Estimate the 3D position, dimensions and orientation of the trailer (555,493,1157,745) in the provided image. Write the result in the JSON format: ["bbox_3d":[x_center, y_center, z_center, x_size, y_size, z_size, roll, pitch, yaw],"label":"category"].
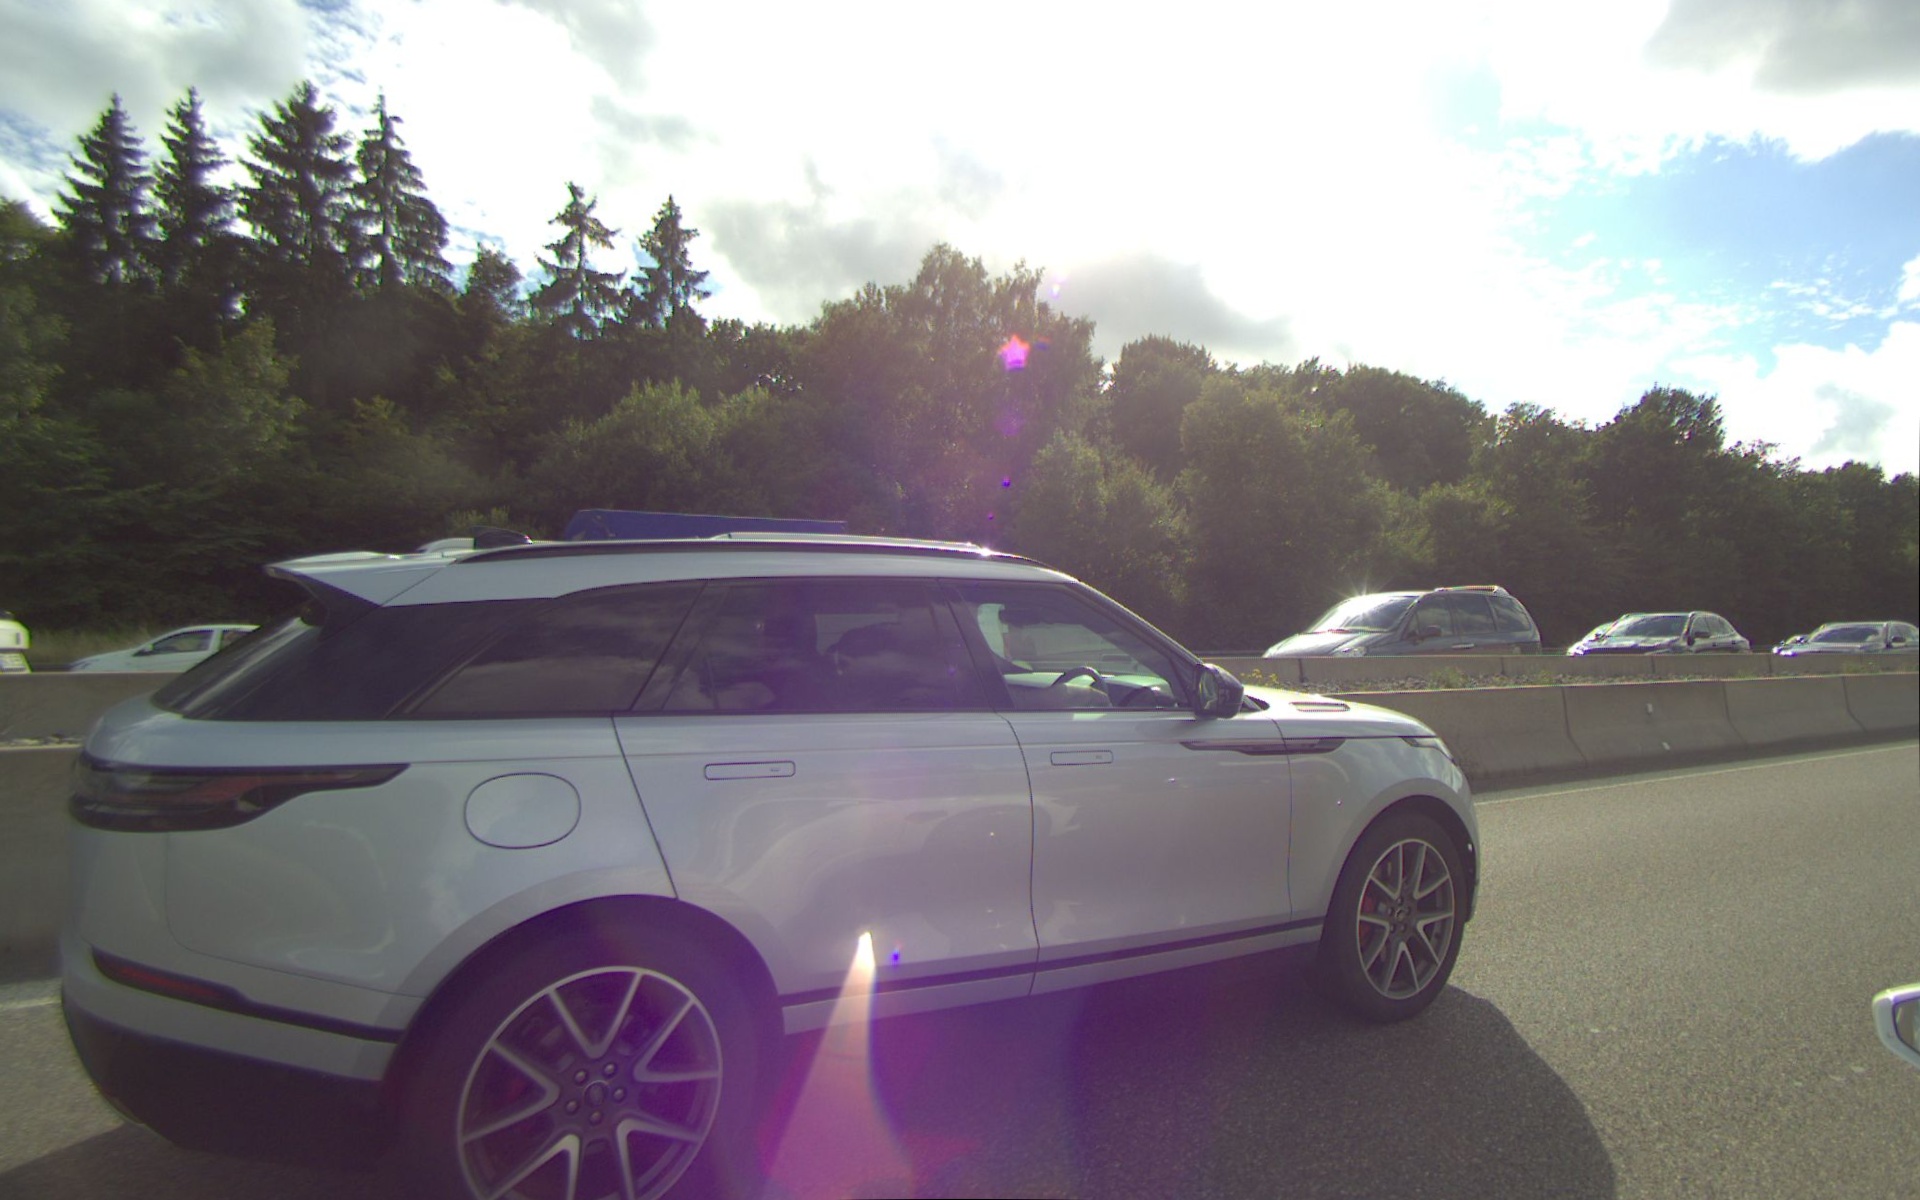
[{"bbox_3d":[-1.128,0.320,14.462,8.445,2.823,2.267,2,0,-32],"label":"trailer"}]

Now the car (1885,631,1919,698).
[{"bbox_3d":[28.261,1.910,28.496,3.952,1.817,1.811,3,-1,-29],"label":"car"}]

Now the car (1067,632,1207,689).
[{"bbox_3d":[5.499,1.832,31.119,4.023,1.593,1.802,1,0,-29],"label":"car"}]

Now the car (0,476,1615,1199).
[{"bbox_3d":[0.103,0.695,3.770,5.046,1.628,1.891,2,-1,-30],"label":"car"}]

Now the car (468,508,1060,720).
[{"bbox_3d":[-1.777,0.131,9.718,5.264,1.593,1.984,1,2,-29],"label":"car"}]

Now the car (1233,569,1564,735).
[{"bbox_3d":[6.332,0.745,14.383,4.624,2.040,1.983,4,-1,-31],"label":"car"}]

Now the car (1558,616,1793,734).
[{"bbox_3d":[14.023,1.451,19.648,4.493,2.040,1.985,3,-1,-29],"label":"car"}]

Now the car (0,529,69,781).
[{"bbox_3d":[-8.154,0.293,5.701,4.304,1.593,1.757,1,0,-29],"label":"car"}]

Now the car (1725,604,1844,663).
[{"bbox_3d":[32.341,1.331,39.380,4.796,2.040,1.985,4,-1,-29],"label":"car"}]

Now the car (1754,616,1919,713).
[{"bbox_3d":[20.737,1.517,23.520,3.952,2.040,1.985,3,-1,-29],"label":"car"}]
